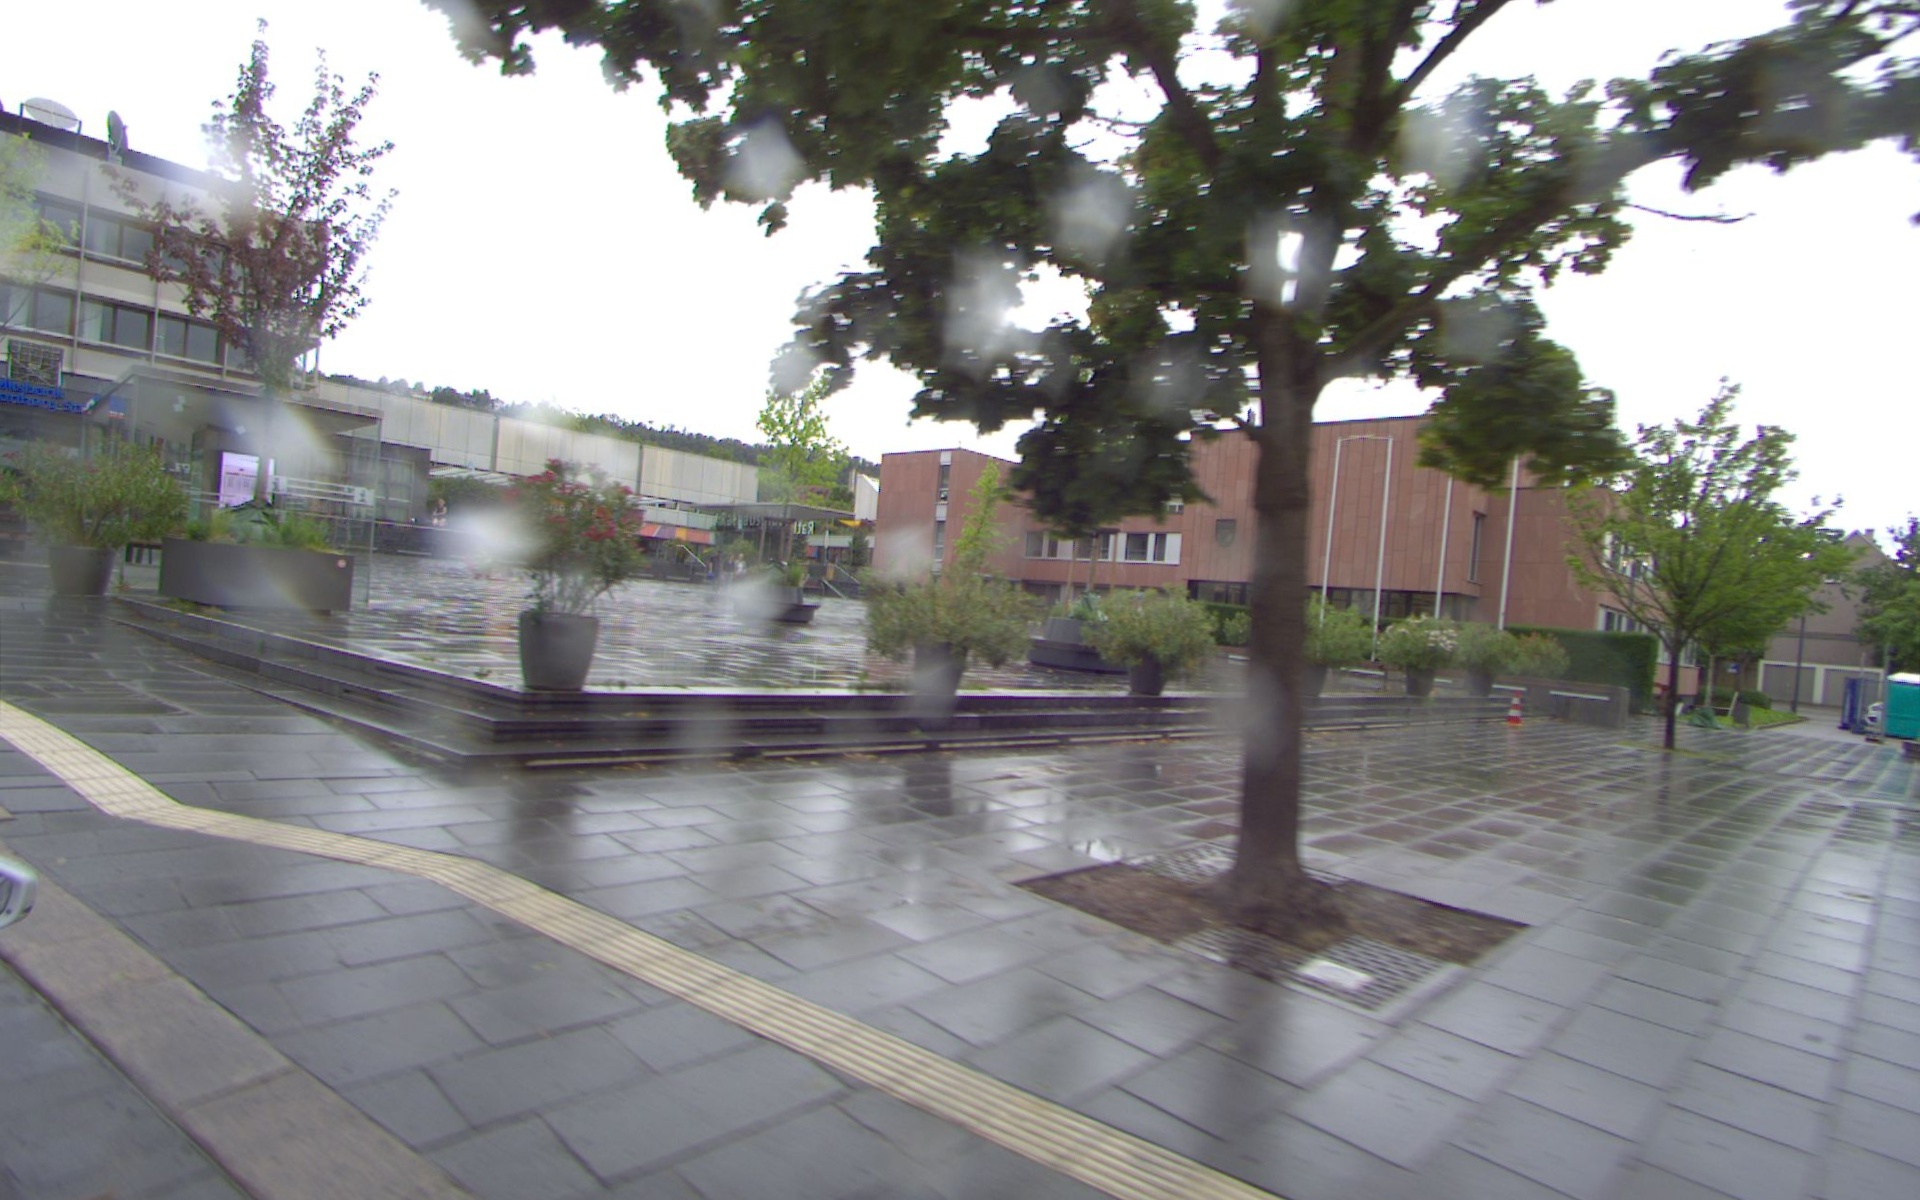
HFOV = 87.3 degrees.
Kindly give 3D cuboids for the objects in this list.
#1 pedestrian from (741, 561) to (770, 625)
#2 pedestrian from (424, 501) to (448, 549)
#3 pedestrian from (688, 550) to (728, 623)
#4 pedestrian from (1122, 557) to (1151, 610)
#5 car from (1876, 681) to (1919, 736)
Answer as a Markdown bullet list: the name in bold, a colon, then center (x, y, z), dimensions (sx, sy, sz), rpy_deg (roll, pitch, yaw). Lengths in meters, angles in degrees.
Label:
- **pedestrian**: center (-8.100, -0.268, 39.799), dimensions (0.562, 2.471, 0.731), rpy_deg (7, 3, 45)
- **pedestrian**: center (-24.568, -3.523, 47.164), dimensions (0.754, 2.175, 0.651), rpy_deg (3, 2, -40)
- **pedestrian**: center (-9.751, -0.528, 38.972), dimensions (1.048, 2.719, 0.822), rpy_deg (3, 2, -40)
- **pedestrian**: center (8.240, -0.769, 47.015), dimensions (0.788, 2.338, 0.899), rpy_deg (7, 2, 41)
- **car**: center (35.561, 4.063, 35.987), dimensions (3.945, 1.795, 1.709), rpy_deg (6, 2, 42)
